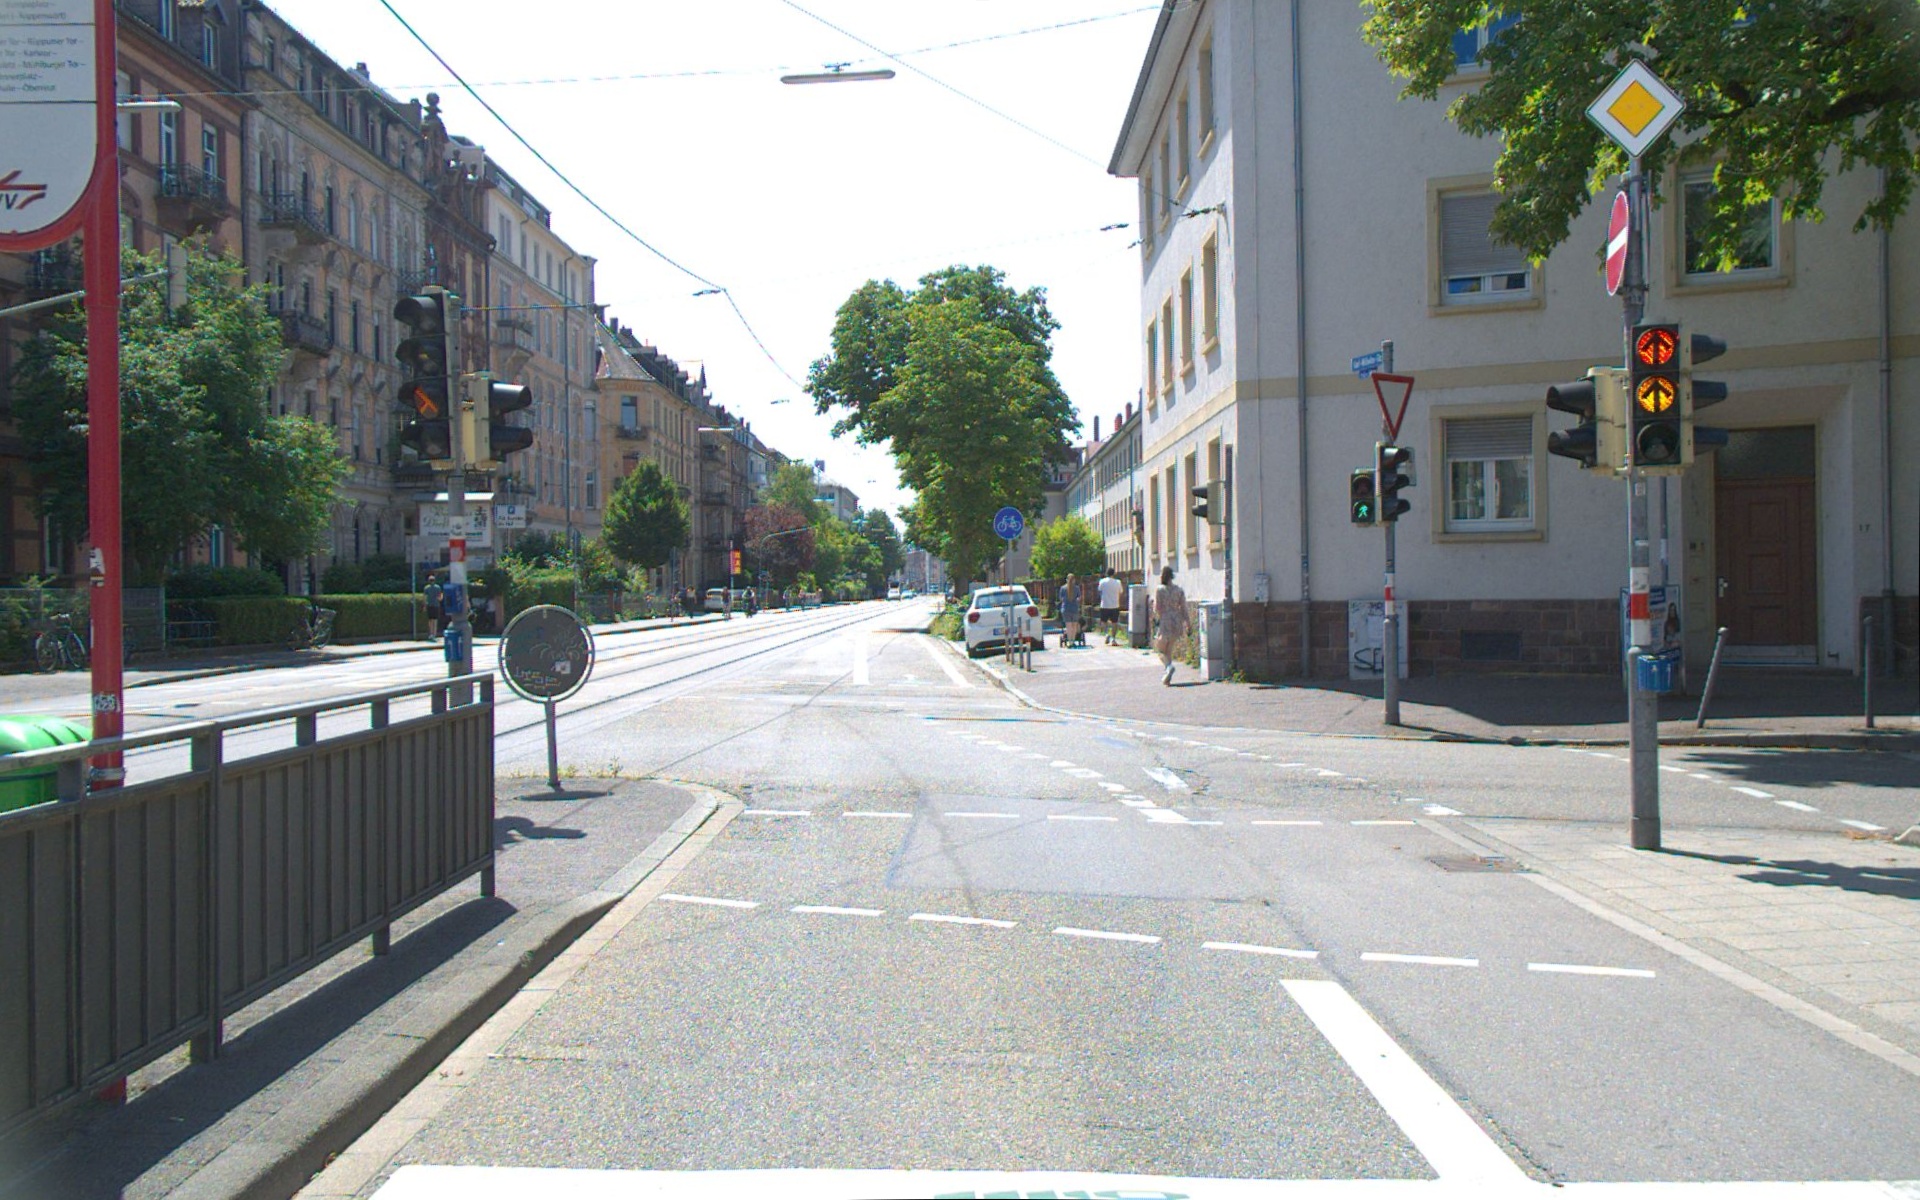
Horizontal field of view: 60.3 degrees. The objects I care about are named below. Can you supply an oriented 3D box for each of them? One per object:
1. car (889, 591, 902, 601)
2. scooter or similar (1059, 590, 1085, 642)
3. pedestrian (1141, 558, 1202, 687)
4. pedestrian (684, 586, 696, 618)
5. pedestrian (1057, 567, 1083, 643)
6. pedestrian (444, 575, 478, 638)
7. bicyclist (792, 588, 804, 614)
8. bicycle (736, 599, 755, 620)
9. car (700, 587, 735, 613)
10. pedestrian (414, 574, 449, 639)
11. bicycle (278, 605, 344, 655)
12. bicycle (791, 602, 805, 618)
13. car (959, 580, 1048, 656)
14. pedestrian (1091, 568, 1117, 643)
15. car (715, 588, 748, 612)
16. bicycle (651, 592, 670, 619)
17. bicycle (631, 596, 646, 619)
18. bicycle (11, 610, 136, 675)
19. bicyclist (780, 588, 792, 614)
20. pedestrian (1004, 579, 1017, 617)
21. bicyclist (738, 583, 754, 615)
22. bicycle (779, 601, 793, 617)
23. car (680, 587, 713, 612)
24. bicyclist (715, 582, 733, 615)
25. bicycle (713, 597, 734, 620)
[{"bbox_3d":[-8.531,-0.563,218.548,1.671,1.300,3.999,1,0,-1],"label":"car"},{"bbox_3d":[2.579,0.358,38.139,0.545,1.175,1.206,1,0,6],"label":"scooter or similar"},{"bbox_3d":[3.069,0.313,23.977,0.637,1.719,1.059,-5,3,13],"label":"pedestrian"},{"bbox_3d":[-14.225,0.116,87.121,0.510,1.688,0.529,-1,0,-1],"label":"pedestrian"},{"bbox_3d":[2.480,0.112,37.212,0.545,1.674,0.677,1,-1,6],"label":"pedestrian"},{"bbox_3d":[-14.763,0.184,48.962,0.800,1.854,0.872,1,1,-7],"label":"pedestrian"},{"bbox_3d":[-11.579,0.076,118.174,0.712,1.850,1.079,1,-1,1],"label":"bicyclist"},{"bbox_3d":[-12.169,0.524,93.883,0.712,1.142,2.085,1,0,1],"label":"bicycle"},{"bbox_3d":[-16.885,-0.017,115.312,1.880,1.745,3.999,1,0,-1],"label":"car"},{"bbox_3d":[-15.426,0.189,48.322,0.800,1.854,0.872,1,1,-7],"label":"pedestrian"},{"bbox_3d":[-15.874,0.712,40.517,0.920,1.156,2.767,1,0,-9],"label":"bicycle"},{"bbox_3d":[-11.593,0.689,118.218,0.712,1.142,2.085,1,0,1],"label":"bicycle"},{"bbox_3d":[0.920,0.392,37.316,1.778,1.542,3.999,-3,0,-1],"label":"car"},{"bbox_3d":[3.262,0.126,37.486,0.545,1.674,0.677,1,-1,6],"label":"pedestrian"},{"bbox_3d":[-17.053,0.018,123.573,1.880,1.745,3.999,1,0,-1],"label":"car"},{"bbox_3d":[-15.285,0.277,84.434,0.664,1.301,1.917,-1,0,-4],"label":"bicycle"},{"bbox_3d":[-15.507,0.361,79.787,0.665,1.083,1.913,-1,0,-12],"label":"bicycle"},{"bbox_3d":[-16.720,0.768,31.303,0.918,1.156,2.773,1,0,-2],"label":"bicycle"},{"bbox_3d":[-12.446,0.061,118.228,0.712,1.850,1.079,1,-1,1],"label":"bicyclist"},{"bbox_3d":[2.165,-0.089,70.758,0.511,1.590,0.573,-1,0,-1],"label":"pedestrian"},{"bbox_3d":[-12.160,-0.034,93.924,0.712,1.799,1.079,1,-1,1],"label":"bicyclist"},{"bbox_3d":[-12.460,0.645,118.296,0.712,1.142,2.085,1,0,1],"label":"bicycle"},{"bbox_3d":[-19.685,-0.028,123.606,1.880,1.745,3.999,1,0,-1],"label":"car"},{"bbox_3d":[-11.972,-0.084,84.040,0.712,1.657,1.079,1,0,1],"label":"bicyclist"},{"bbox_3d":[-11.987,0.451,84.025,0.712,1.142,2.085,1,0,1],"label":"bicycle"}]
